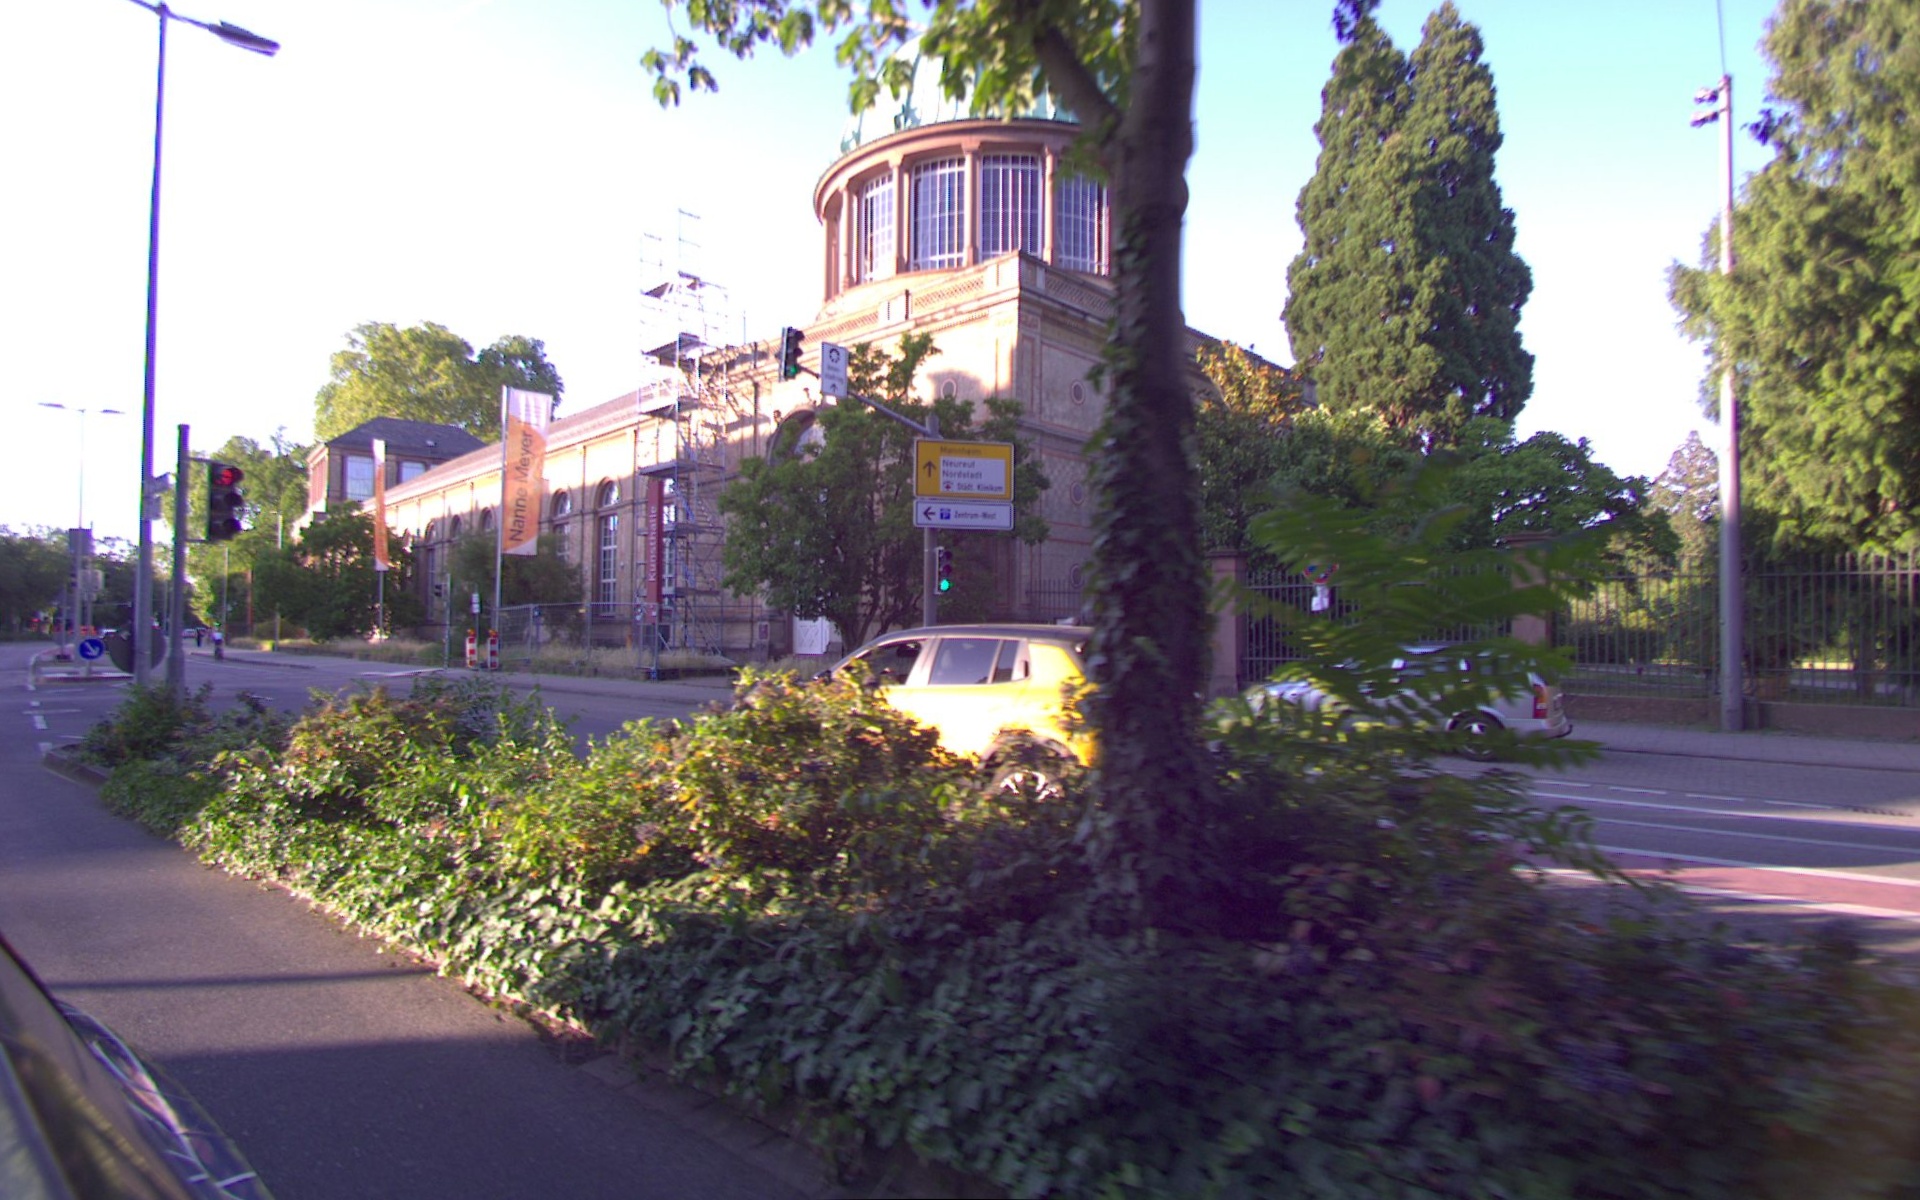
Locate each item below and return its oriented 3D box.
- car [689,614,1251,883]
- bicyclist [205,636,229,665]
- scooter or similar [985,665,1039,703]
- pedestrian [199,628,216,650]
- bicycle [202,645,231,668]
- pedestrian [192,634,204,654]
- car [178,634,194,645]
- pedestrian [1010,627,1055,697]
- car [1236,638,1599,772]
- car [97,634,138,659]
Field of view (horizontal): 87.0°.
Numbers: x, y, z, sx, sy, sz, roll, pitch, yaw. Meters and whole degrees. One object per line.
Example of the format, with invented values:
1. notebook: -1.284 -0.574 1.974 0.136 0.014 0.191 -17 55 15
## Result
1. car: -0.058 0.938 7.883 4.111 1.559 1.828 -1 -3 37
2. bicyclist: -37.788 2.555 51.459 0.937 1.471 0.739 -2 -5 41
3. scooter or similar: 1.173 1.873 22.702 1.028 0.783 0.671 -2 -3 41
4. pedestrian: -59.660 3.088 80.254 0.795 1.751 0.852 1 -2 -18
5. bicycle: -37.832 2.879 51.467 1.931 1.099 0.745 -2 -5 41
6. pedestrian: -60.080 3.490 79.782 0.665 1.524 0.837 -3 -1 -39
7. car: -123.140 6.231 161.075 1.890 1.697 4.010 2 -3 -35
8. pedestrian: 1.698 1.444 23.706 0.762 1.591 0.728 -2 -3 41
9. car: 6.310 1.346 14.244 4.365 1.559 1.727 -2 -2 39
10. car: -53.089 2.885 63.717 1.801 1.519 4.432 2 -3 -42
